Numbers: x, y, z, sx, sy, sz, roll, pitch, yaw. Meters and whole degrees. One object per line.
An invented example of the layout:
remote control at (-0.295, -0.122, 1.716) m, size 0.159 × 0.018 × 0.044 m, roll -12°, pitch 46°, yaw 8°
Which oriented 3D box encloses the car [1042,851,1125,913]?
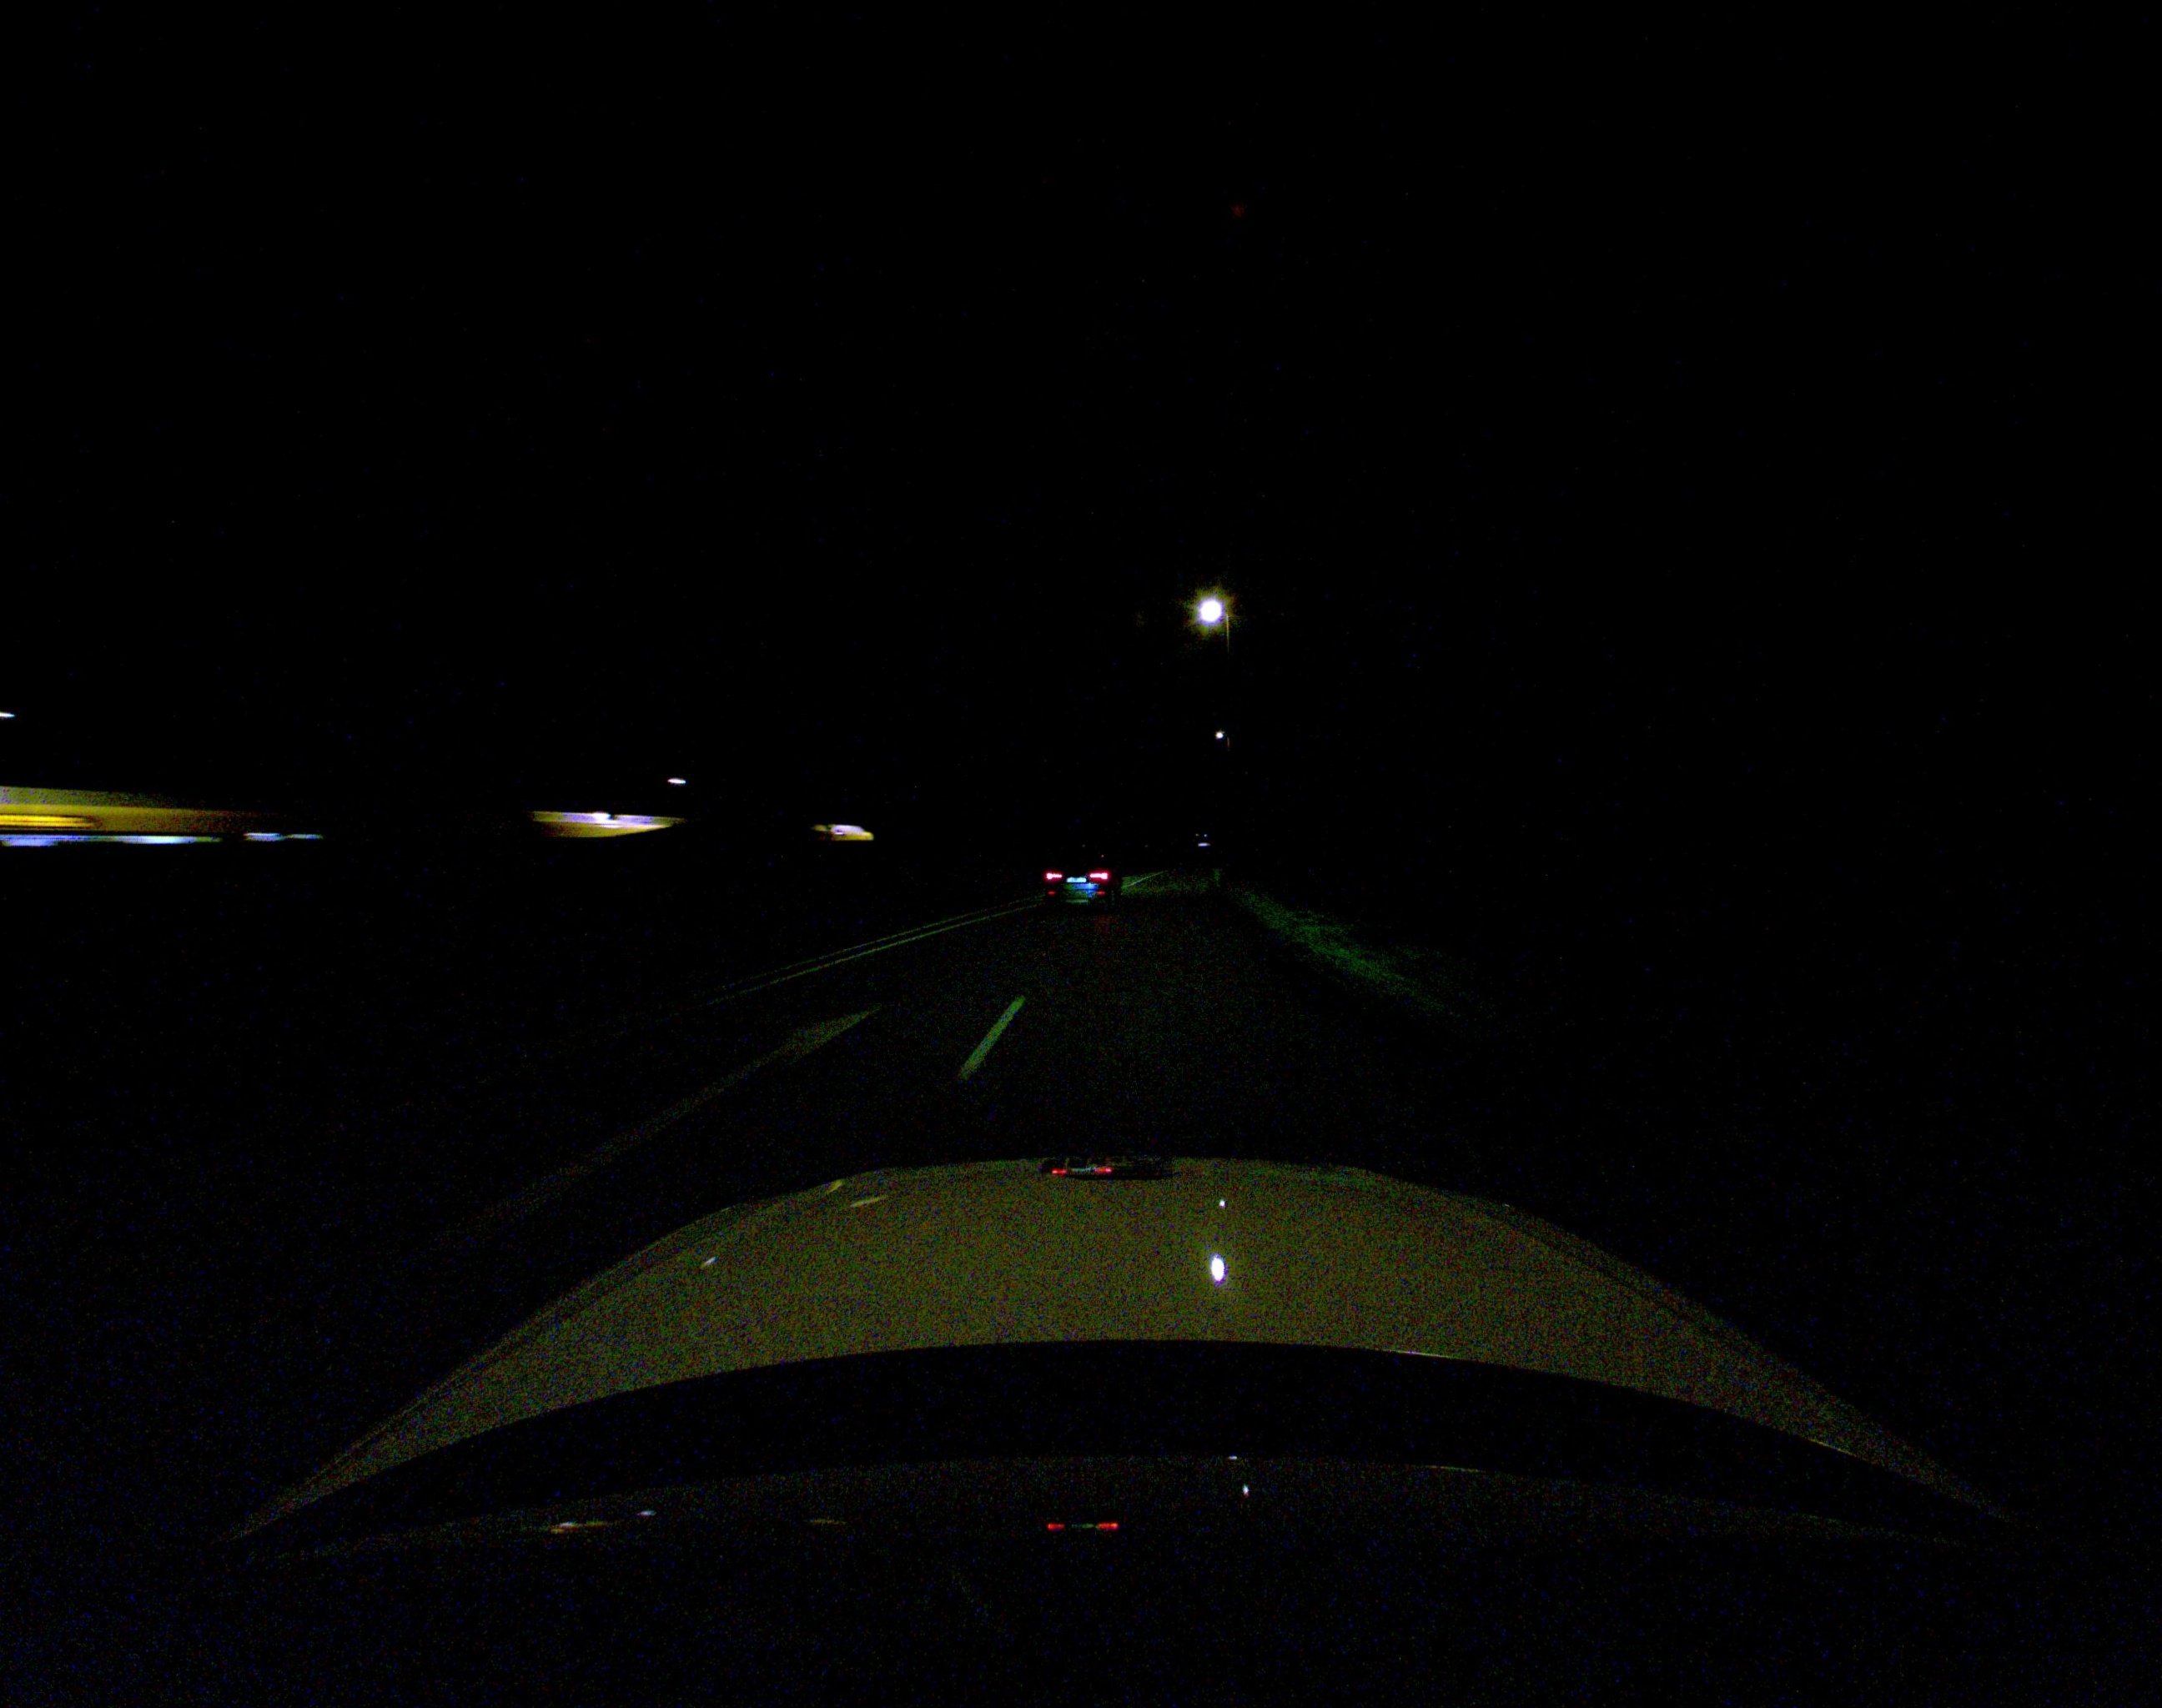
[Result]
car at (0.158, 0.721, 23.069) m, size 1.804 × 1.573 × 3.952 m, roll -1°, pitch 0°, yaw 8°
